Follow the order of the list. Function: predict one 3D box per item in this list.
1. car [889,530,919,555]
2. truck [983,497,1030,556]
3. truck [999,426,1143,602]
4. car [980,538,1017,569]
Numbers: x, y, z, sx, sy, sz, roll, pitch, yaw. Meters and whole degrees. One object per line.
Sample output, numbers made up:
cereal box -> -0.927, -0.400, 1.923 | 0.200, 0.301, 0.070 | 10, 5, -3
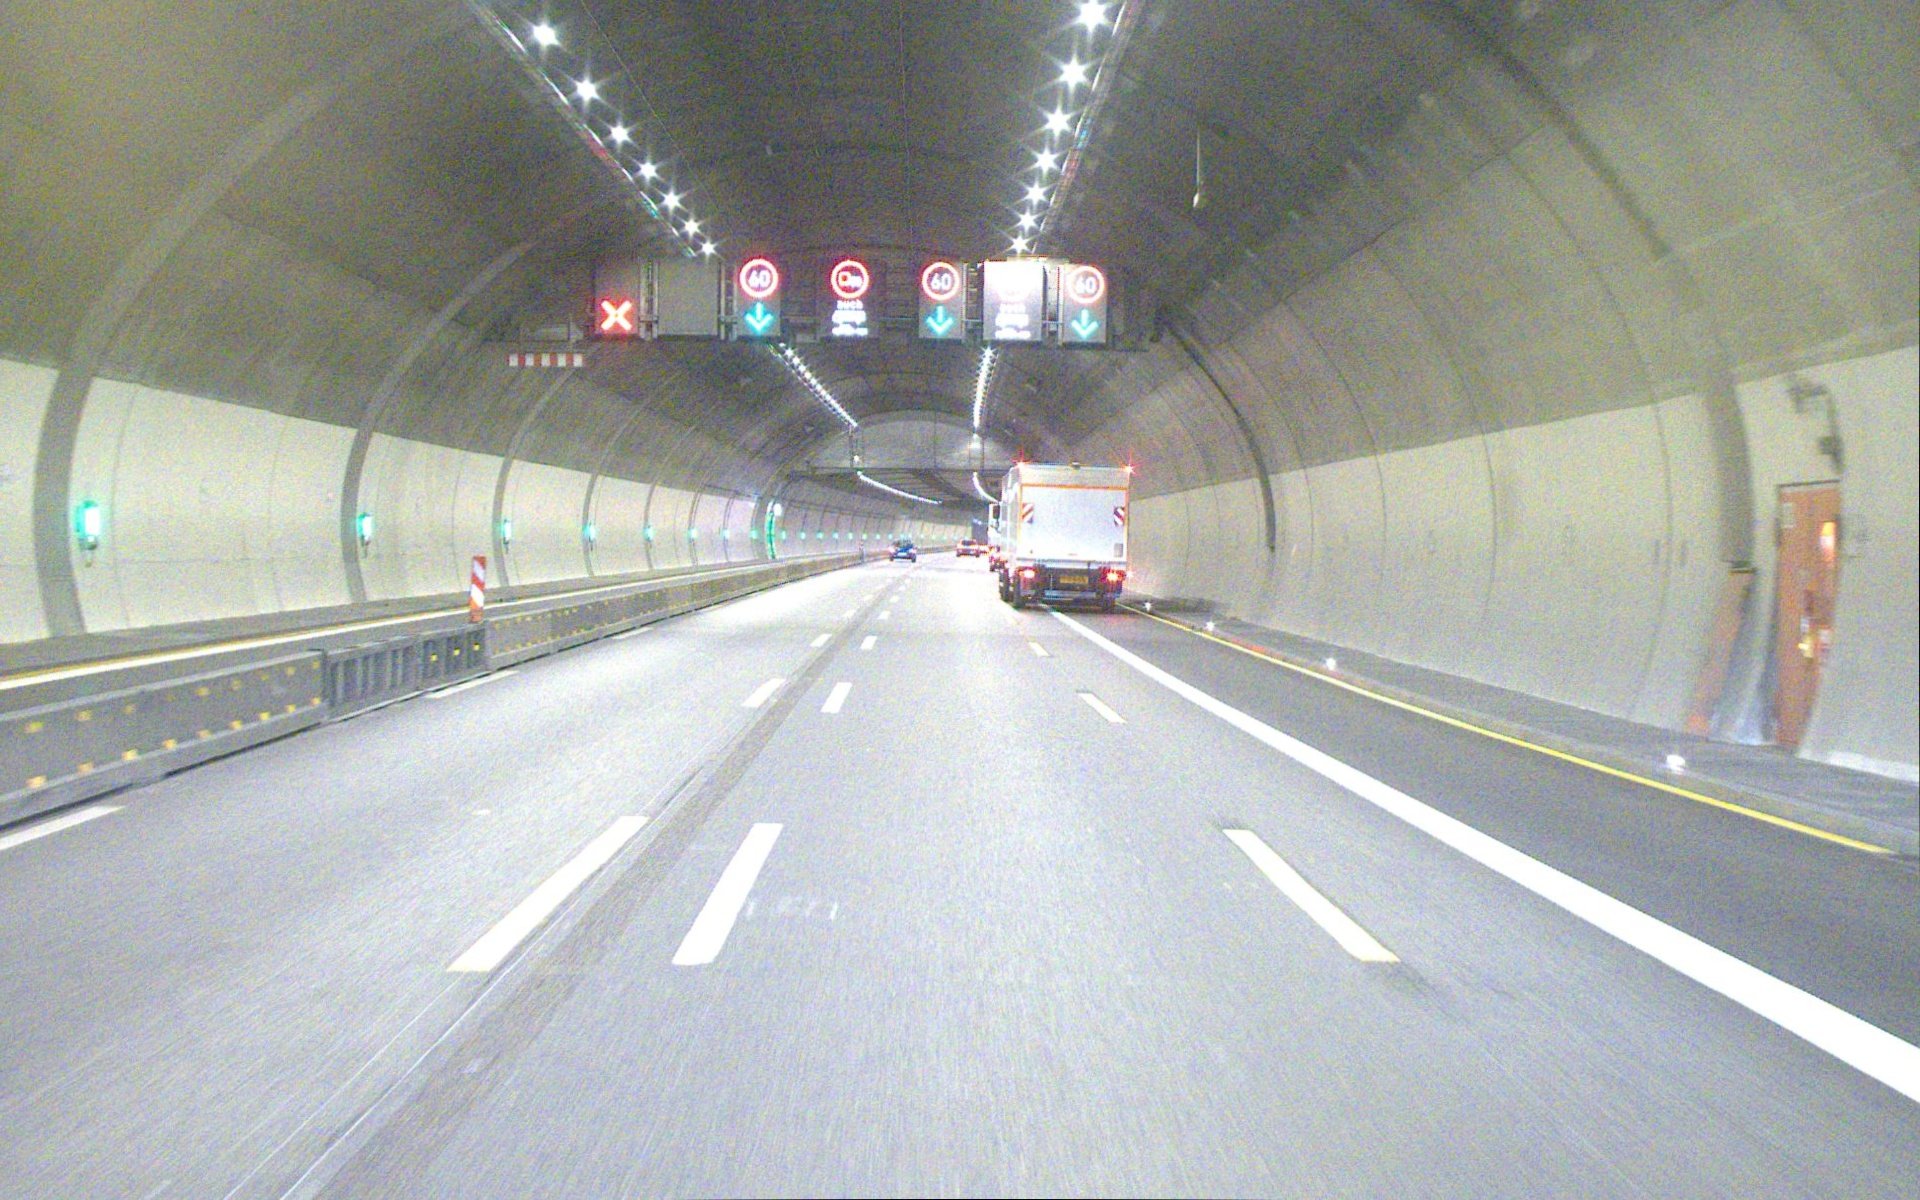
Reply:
car -> -3.453, -3.527, 211.677 | 1.758, 1.456, 4.119 | 1, 2, 0
truck -> 3.271, -5.096, 239.965 | 3.066, 3.904, 10.367 | 2, 0, 1
truck -> 2.571, -1.982, 83.204 | 3.092, 3.904, 10.368 | 2, 0, 0
car -> 1.932, -2.318, 172.181 | 1.739, 1.456, 3.960 | 1, 2, 1
